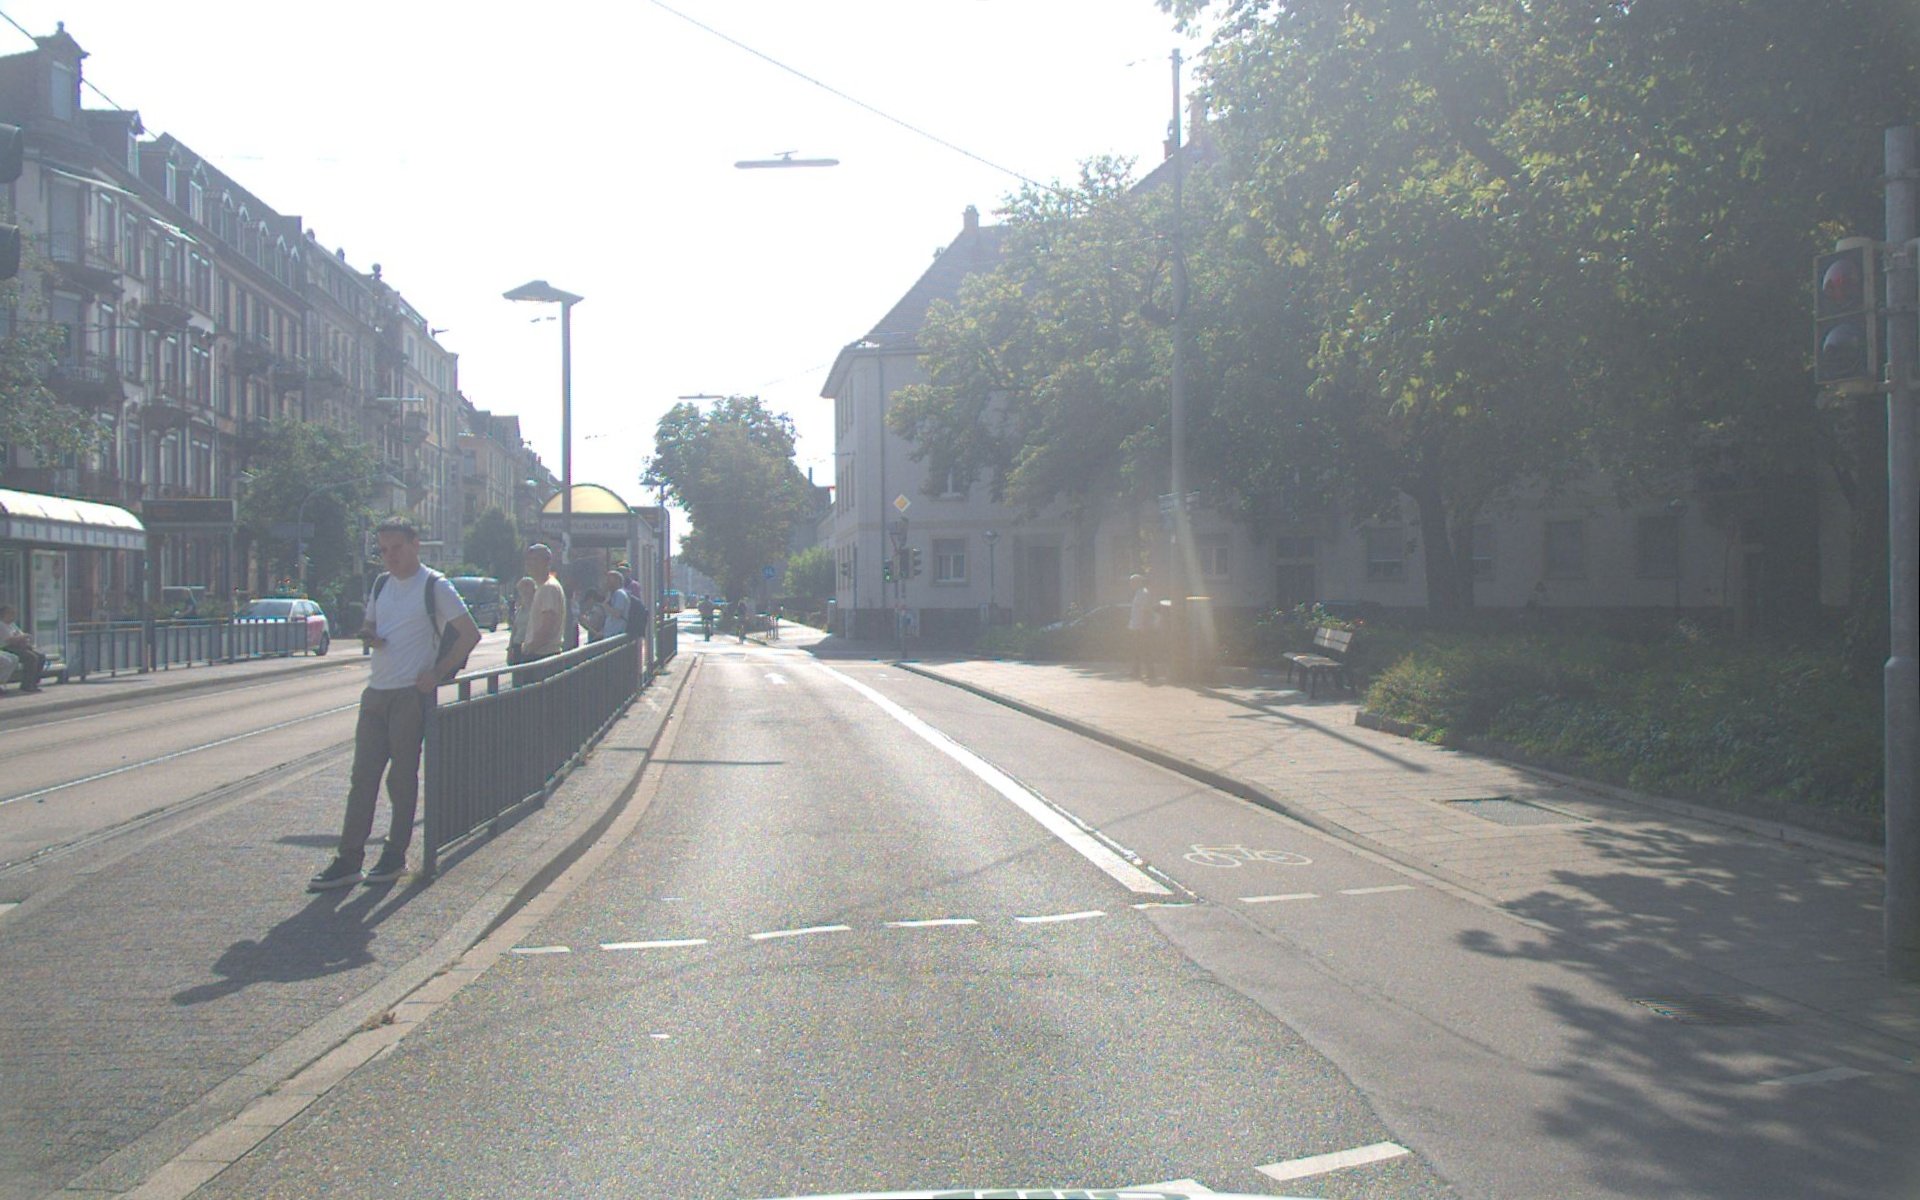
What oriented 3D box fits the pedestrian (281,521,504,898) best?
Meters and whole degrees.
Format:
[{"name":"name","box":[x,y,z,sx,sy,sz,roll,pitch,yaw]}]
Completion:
[{"name":"pedestrian","box":[-2.820,0.504,8.252,0.686,1.755,0.747,3,2,25]}]

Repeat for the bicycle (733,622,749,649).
[{"name":"bicycle","box":[-8.387,1.345,63.400,0.548,0.995,1.852,-1,0,-9]}]

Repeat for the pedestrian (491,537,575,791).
[{"name":"pedestrian","box":[-3.217,0.466,12.496,0.495,1.865,0.533,2,2,-8]}]

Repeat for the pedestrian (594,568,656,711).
[{"name":"pedestrian","box":[-4.314,0.500,21.314,0.695,1.790,0.533,2,2,-8]}]

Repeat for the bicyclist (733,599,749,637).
[{"name":"bicyclist","box":[-8.403,0.694,63.414,0.548,1.441,0.870,-1,0,-9]}]

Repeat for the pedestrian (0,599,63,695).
[{"name":"pedestrian","box":[-13.856,0.683,24.473,0.813,1.382,0.774,0,0,-12]}]

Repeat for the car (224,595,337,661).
[{"name":"car","box":[-18.434,0.733,45.002,1.766,1.682,3.639,-1,0,-4]}]

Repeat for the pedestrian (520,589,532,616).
[{"name":"pedestrian","box":[-29.068,0.160,110.807,0.738,1.761,0.768,0,0,-17]}]

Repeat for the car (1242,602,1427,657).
[{"name":"car","box":[9.675,0.736,42.870,4.255,1.343,1.990,-1,0,40]}]

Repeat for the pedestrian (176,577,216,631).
[{"name":"pedestrian","box":[-22.613,0.114,48.963,0.887,1.594,0.763,0,0,-45]}]

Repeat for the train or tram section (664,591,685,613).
[{"name":"train or tram section","box":[-42.712,0.288,247.447,2.169,3.221,6.147,-1,0,-1]}]

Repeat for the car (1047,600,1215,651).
[{"name":"car","box":[4.760,0.699,46.175,4.243,1.343,1.995,-1,0,31]}]

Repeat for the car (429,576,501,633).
[{"name":"car","box":[-24.464,0.229,81.905,2.301,2.708,5.101,-1,0,-4]}]

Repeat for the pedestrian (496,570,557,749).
[{"name":"pedestrian","box":[-4.469,0.602,17.063,0.495,1.790,0.533,2,2,-8]}]

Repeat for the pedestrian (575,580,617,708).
[{"name":"pedestrian","box":[-5.242,0.631,23.825,0.495,1.790,0.533,2,2,-8]}]

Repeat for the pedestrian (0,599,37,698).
[{"name":"pedestrian","box":[-13.704,0.680,23.510,0.813,1.382,0.774,0,0,-12]}]

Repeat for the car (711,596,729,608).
[{"name":"car","box":[-34.439,0.302,237.593,1.953,1.814,3.999,1,0,-1]}]

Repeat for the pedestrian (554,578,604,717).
[{"name":"pedestrian","box":[-5.030,0.619,21.840,0.533,1.790,0.533,2,2,-8]}]

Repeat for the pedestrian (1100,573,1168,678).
[{"name":"pedestrian","box":[2.984,0.428,28.406,0.877,1.771,0.772,-1,0,39]}]

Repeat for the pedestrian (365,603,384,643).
[{"name":"pedestrian","box":[-26.204,1.024,74.068,0.738,1.761,0.768,0,0,-17]}]

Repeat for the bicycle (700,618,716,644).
[{"name":"bicycle","box":[-10.126,1.234,66.402,0.617,0.995,1.766,-1,0,-9]}]

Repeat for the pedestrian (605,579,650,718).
[{"name":"pedestrian","box":[-4.406,0.631,21.923,0.495,1.790,0.533,2,2,-8]}]

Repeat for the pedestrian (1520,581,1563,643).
[{"name":"pedestrian","box":[16.665,0.338,47.404,0.768,1.771,0.882,0,0,-37]}]

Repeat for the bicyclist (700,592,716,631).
[{"name":"bicyclist","box":[-10.128,0.446,66.403,0.617,1.534,0.677,-1,0,-9]}]

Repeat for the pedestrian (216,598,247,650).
[{"name":"pedestrian","box":[-25.354,0.828,57.529,0.739,1.761,0.766,-1,0,44]}]

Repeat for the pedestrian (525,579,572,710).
[{"name":"pedestrian","box":[-5.761,0.618,23.169,0.522,1.790,0.544,2,2,-7]}]

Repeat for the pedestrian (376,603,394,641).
[{"name":"pedestrian","box":[-26.837,1.033,77.223,0.738,1.761,0.768,0,0,-17]}]
